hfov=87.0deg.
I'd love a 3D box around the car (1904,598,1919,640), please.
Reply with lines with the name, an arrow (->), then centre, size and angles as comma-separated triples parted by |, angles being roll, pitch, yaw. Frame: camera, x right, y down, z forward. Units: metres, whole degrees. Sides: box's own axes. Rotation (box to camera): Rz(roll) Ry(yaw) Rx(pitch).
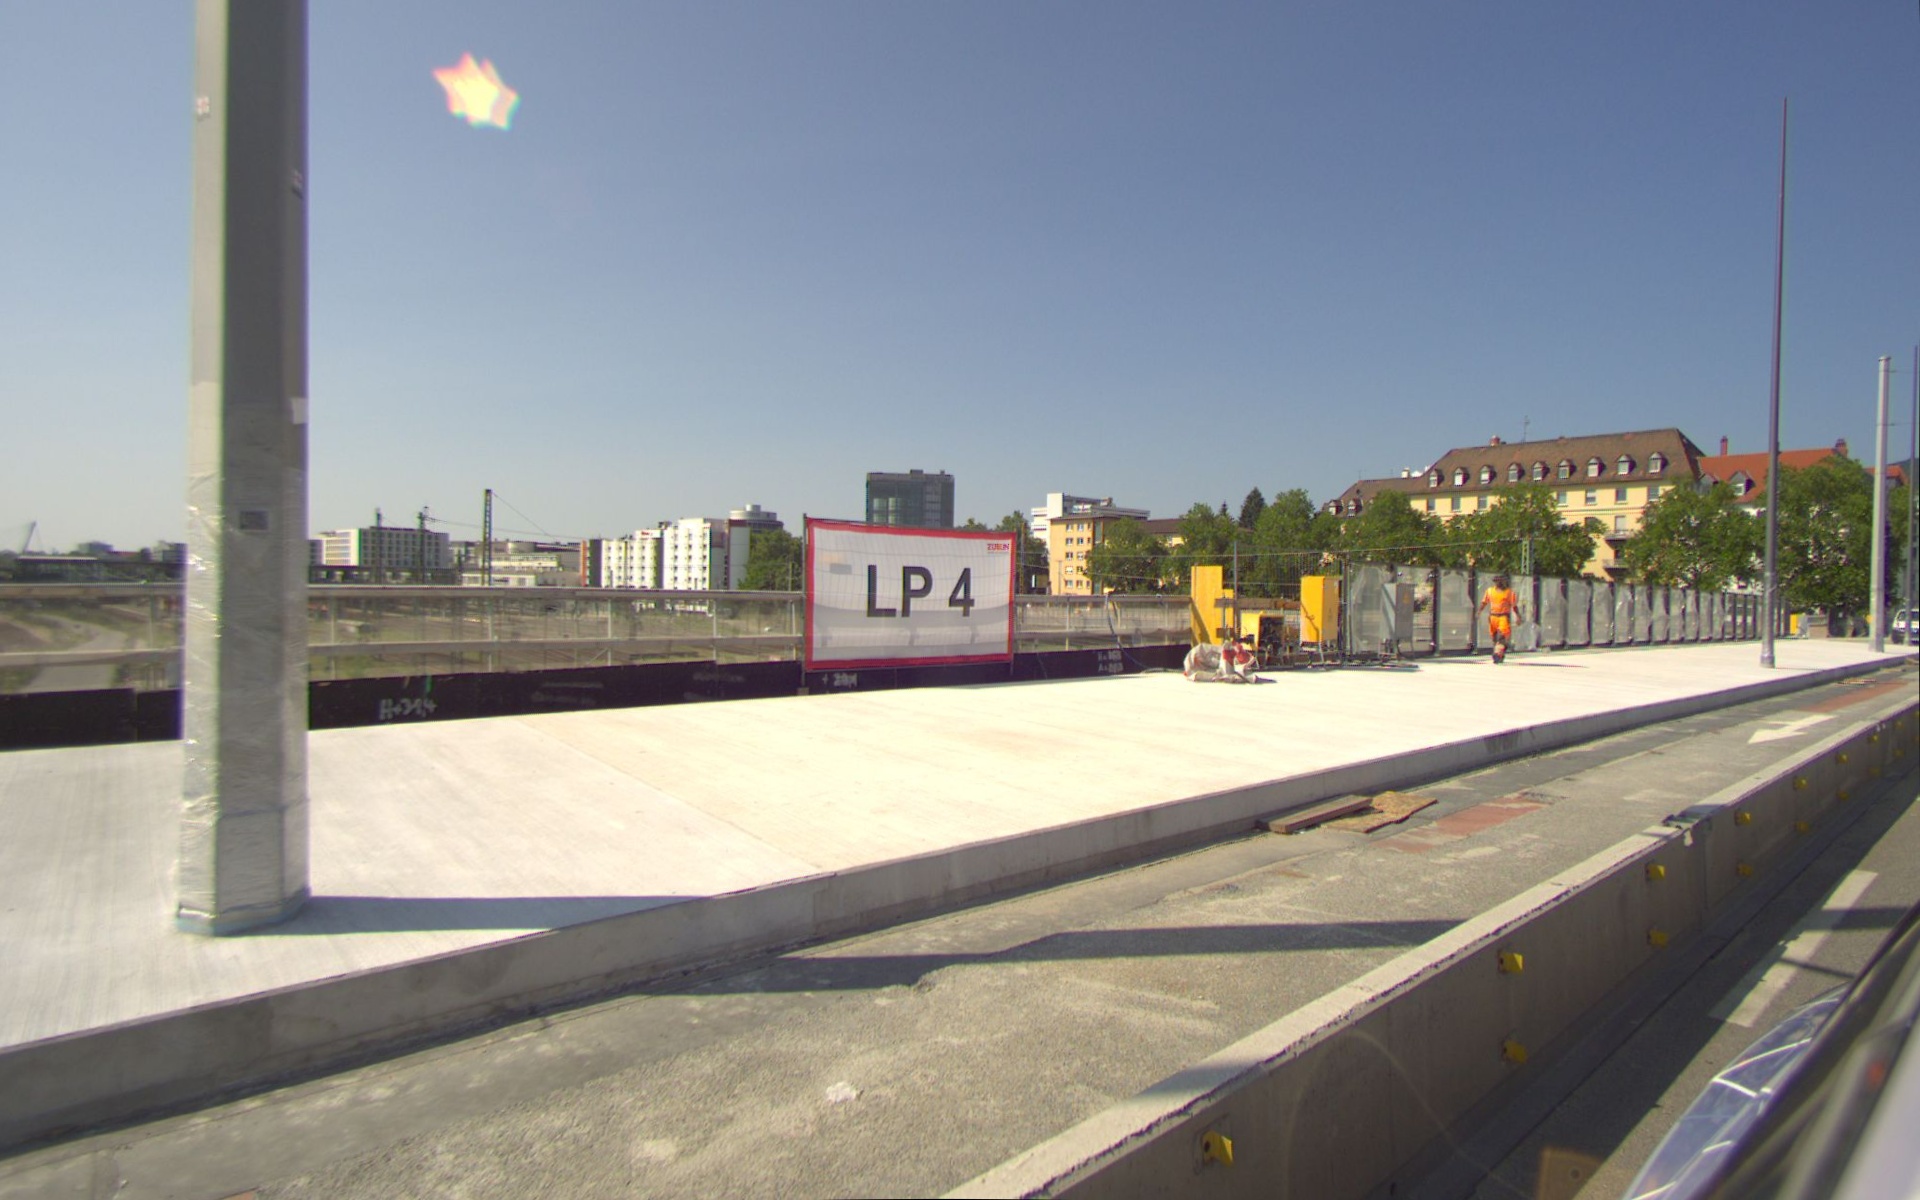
car -> 51.026, 1.058, 52.730 | 6.354, 2.117, 1.937 | 2, 0, -40

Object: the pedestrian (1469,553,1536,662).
pedestrian -> 10.232, 0.120, 19.088 | 0.998, 1.989, 0.733 | 1, 2, -41
